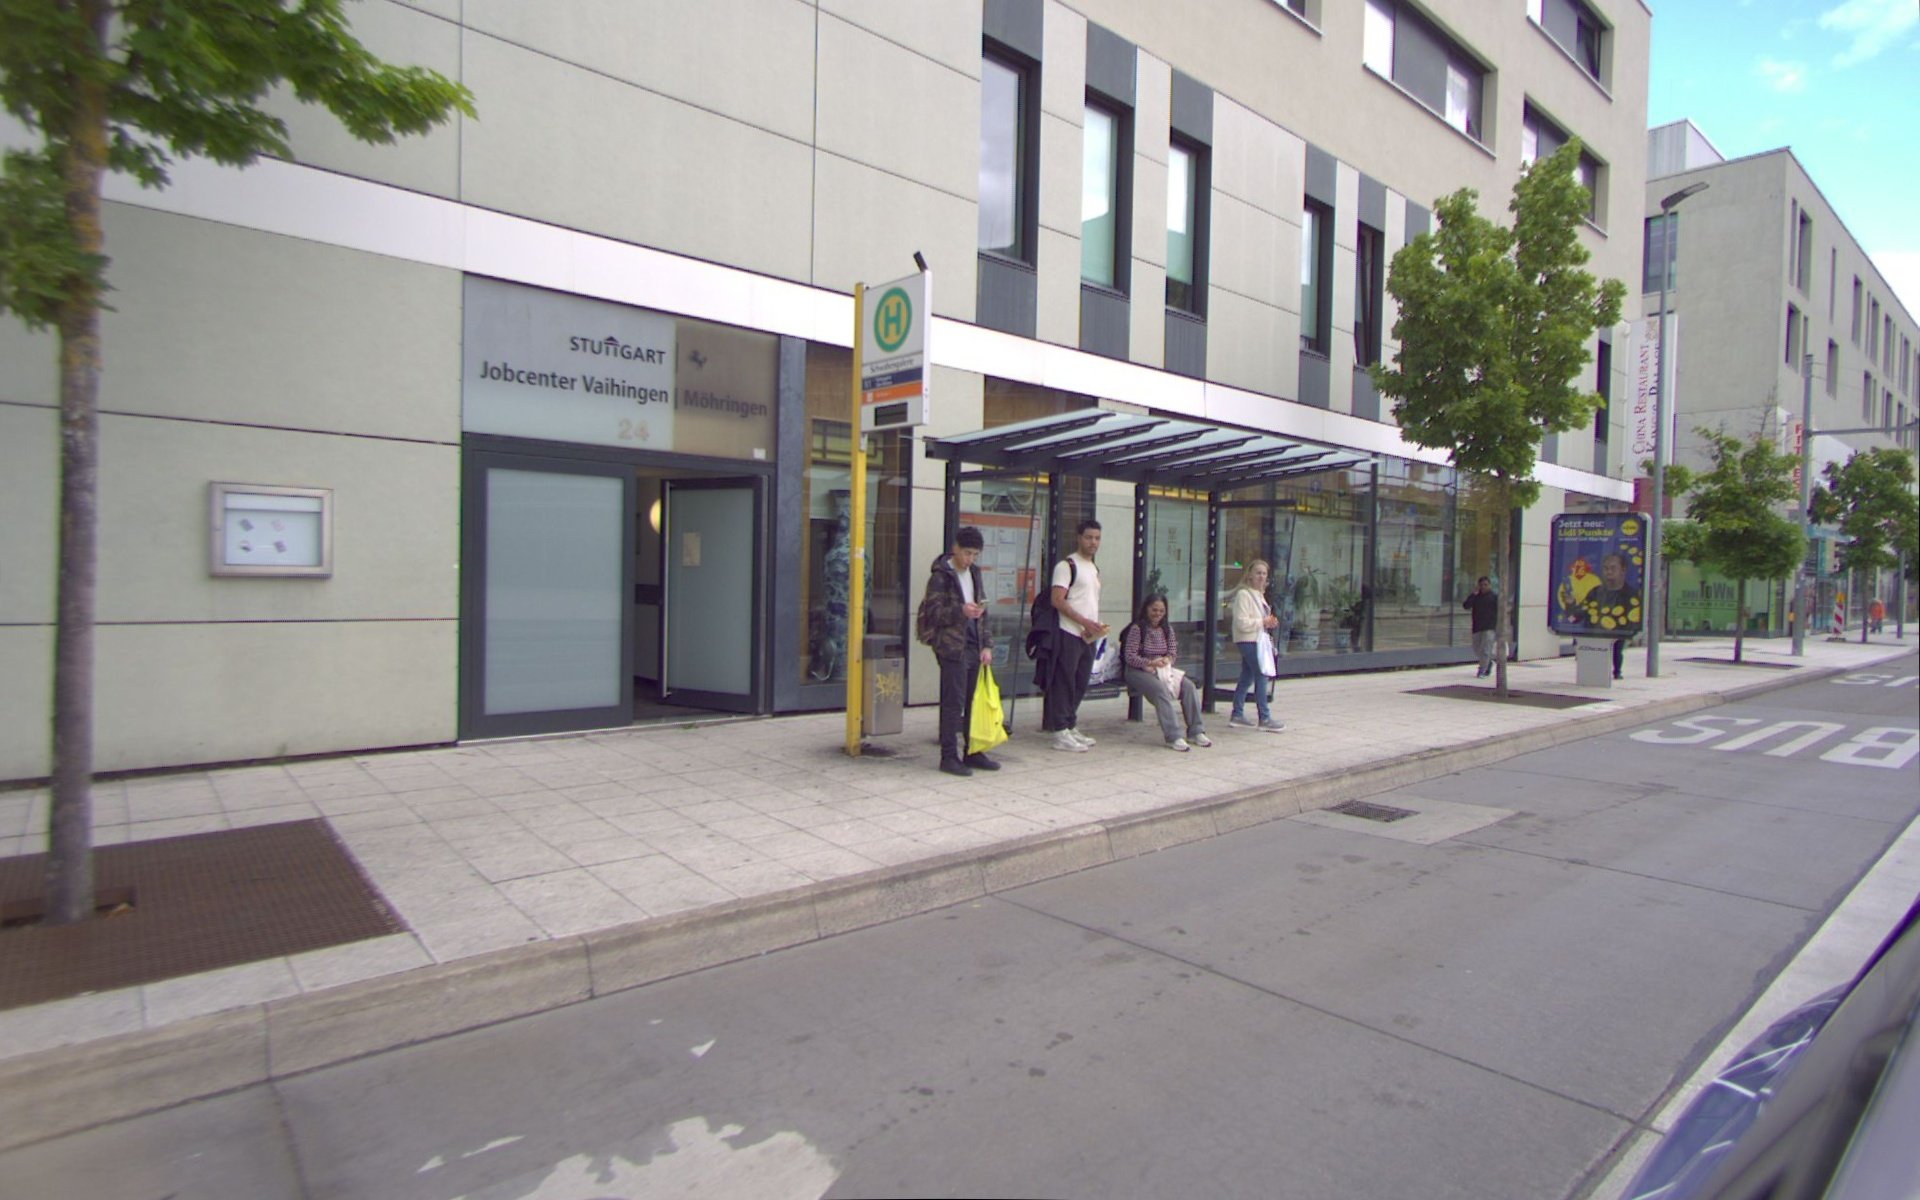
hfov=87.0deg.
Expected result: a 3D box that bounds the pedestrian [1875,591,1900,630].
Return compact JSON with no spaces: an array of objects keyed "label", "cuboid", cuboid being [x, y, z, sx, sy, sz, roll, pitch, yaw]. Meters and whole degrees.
[{"label":"pedestrian","cuboid":[38.682,0.445,42.208,0.719,1.586,0.590,0,3,-41]}]

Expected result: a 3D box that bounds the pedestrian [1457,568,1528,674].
[{"label":"pedestrian","cuboid":[8.470,0.312,16.104,0.702,1.628,0.742,0,2,-40]}]

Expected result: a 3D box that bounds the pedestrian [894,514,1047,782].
[{"label":"pedestrian","cuboid":[0.063,0.286,6.908,0.719,1.704,0.723,0,3,-35]}]

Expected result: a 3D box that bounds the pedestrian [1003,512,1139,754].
[{"label":"pedestrian","cuboid":[0.869,0.227,7.948,0.840,1.791,0.581,0,3,-35]}]

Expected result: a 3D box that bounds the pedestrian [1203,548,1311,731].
[{"label":"pedestrian","cuboid":[2.740,0.335,9.346,0.719,1.610,0.581,0,3,-35]}]

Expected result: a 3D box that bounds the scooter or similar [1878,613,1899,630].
[{"label":"scooter or similar","cuboid":[39.240,0.898,42.762,0.754,0.642,0.552,0,3,-41]}]

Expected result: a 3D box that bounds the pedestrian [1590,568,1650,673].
[{"label":"pedestrian","cuboid":[10.957,0.329,16.806,0.603,1.689,0.656,0,2,-40]}]

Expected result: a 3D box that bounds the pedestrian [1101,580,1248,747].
[{"label":"pedestrian","cuboid":[1.801,0.491,8.537,0.720,1.274,0.944,-1,3,-43]}]
